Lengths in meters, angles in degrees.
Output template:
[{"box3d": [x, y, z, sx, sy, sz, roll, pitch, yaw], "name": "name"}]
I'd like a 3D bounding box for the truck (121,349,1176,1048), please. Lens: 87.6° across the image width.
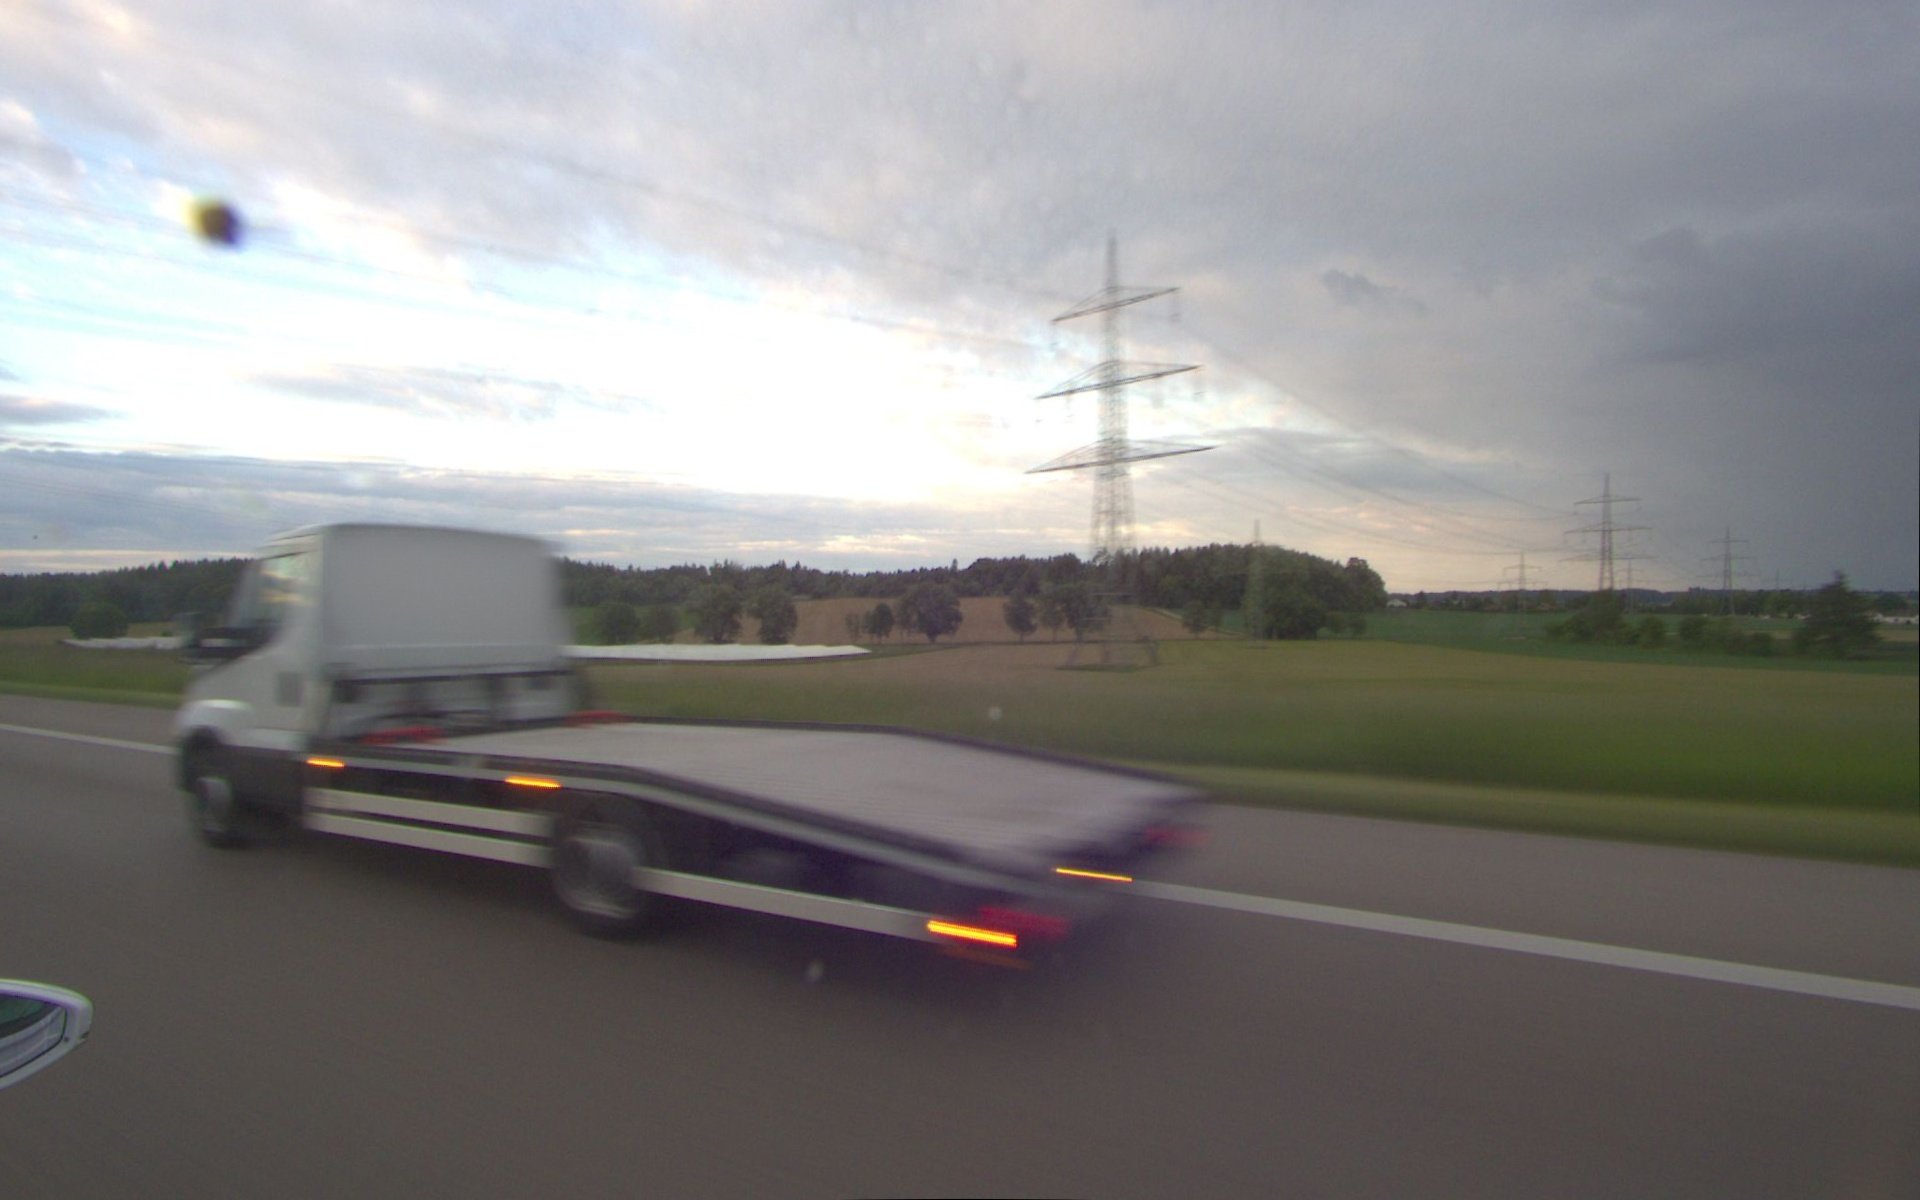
[{"box3d": [-2.612, 0.423, 6.434, 7.589, 2.390, 2.168, -1, -2, 33], "name": "truck"}]
